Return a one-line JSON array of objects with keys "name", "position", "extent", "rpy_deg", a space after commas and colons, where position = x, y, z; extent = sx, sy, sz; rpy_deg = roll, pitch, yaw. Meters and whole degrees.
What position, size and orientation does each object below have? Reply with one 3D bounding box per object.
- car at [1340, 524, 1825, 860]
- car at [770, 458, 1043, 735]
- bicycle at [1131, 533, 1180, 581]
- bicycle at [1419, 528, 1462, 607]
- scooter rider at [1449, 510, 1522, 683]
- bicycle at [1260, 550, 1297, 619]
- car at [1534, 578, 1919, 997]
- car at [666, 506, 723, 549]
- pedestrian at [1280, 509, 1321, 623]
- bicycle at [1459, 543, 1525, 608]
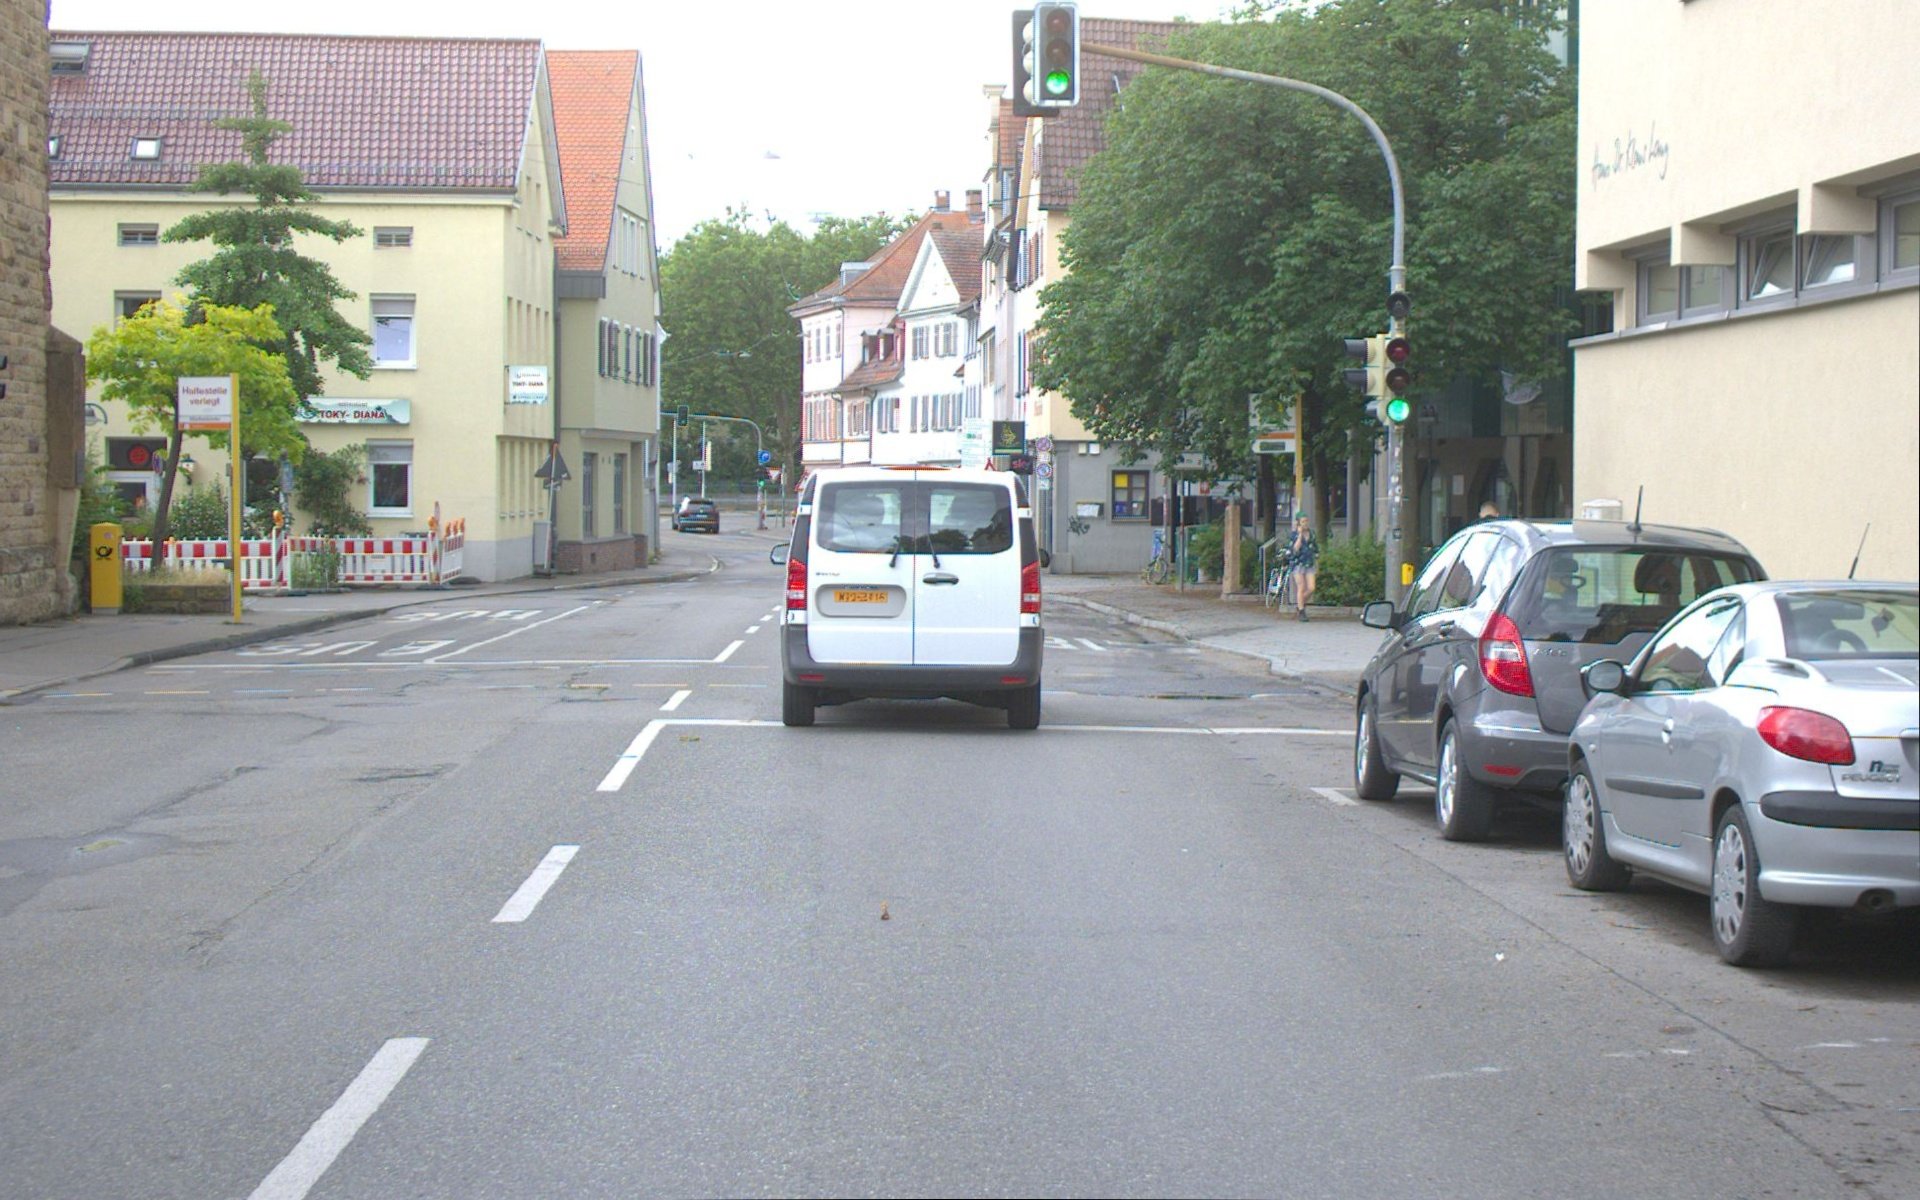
[{"name": "car", "position": [3.128, 0.394, 18.004], "extent": [1.711, 1.555, 3.786], "rpy_deg": [1, 1, -2]}, {"name": "car", "position": [-0.377, -0.050, 25.881], "extent": [1.872, 1.905, 4.000], "rpy_deg": [1, 1, 0]}, {"name": "bicycle", "position": [4.512, -0.993, 79.360], "extent": [0.499, 1.102, 1.639], "rpy_deg": [0, 1, -21]}, {"name": "bicycle", "position": [8.131, -0.560, 58.227], "extent": [0.333, 1.296, 1.959], "rpy_deg": [1, 1, -2]}, {"name": "scooter rider", "position": [5.018, -0.035, 32.834], "extent": [0.452, 1.626, 0.505], "rpy_deg": [-2, 0, -15]}, {"name": "bicycle", "position": [5.459, -0.274, 58.963], "extent": [0.333, 1.137, 1.959], "rpy_deg": [1, 1, -2]}, {"name": "car", "position": [3.393, 0.619, 13.332], "extent": [1.551, 1.328, 3.813], "rpy_deg": [1, 1, -2]}, {"name": "car", "position": [-13.068, -3.569, 168.981], "extent": [1.934, 2.007, 4.001], "rpy_deg": [1, 1, -16]}, {"name": "pedestrian", "position": [5.203, -0.522, 52.471], "extent": [0.602, 1.710, 0.859], "rpy_deg": [1, 1, 6]}, {"name": "bicycle", "position": [9.014, -0.427, 58.339], "extent": [0.544, 1.066, 2.292], "rpy_deg": [0, 1, -6]}]
